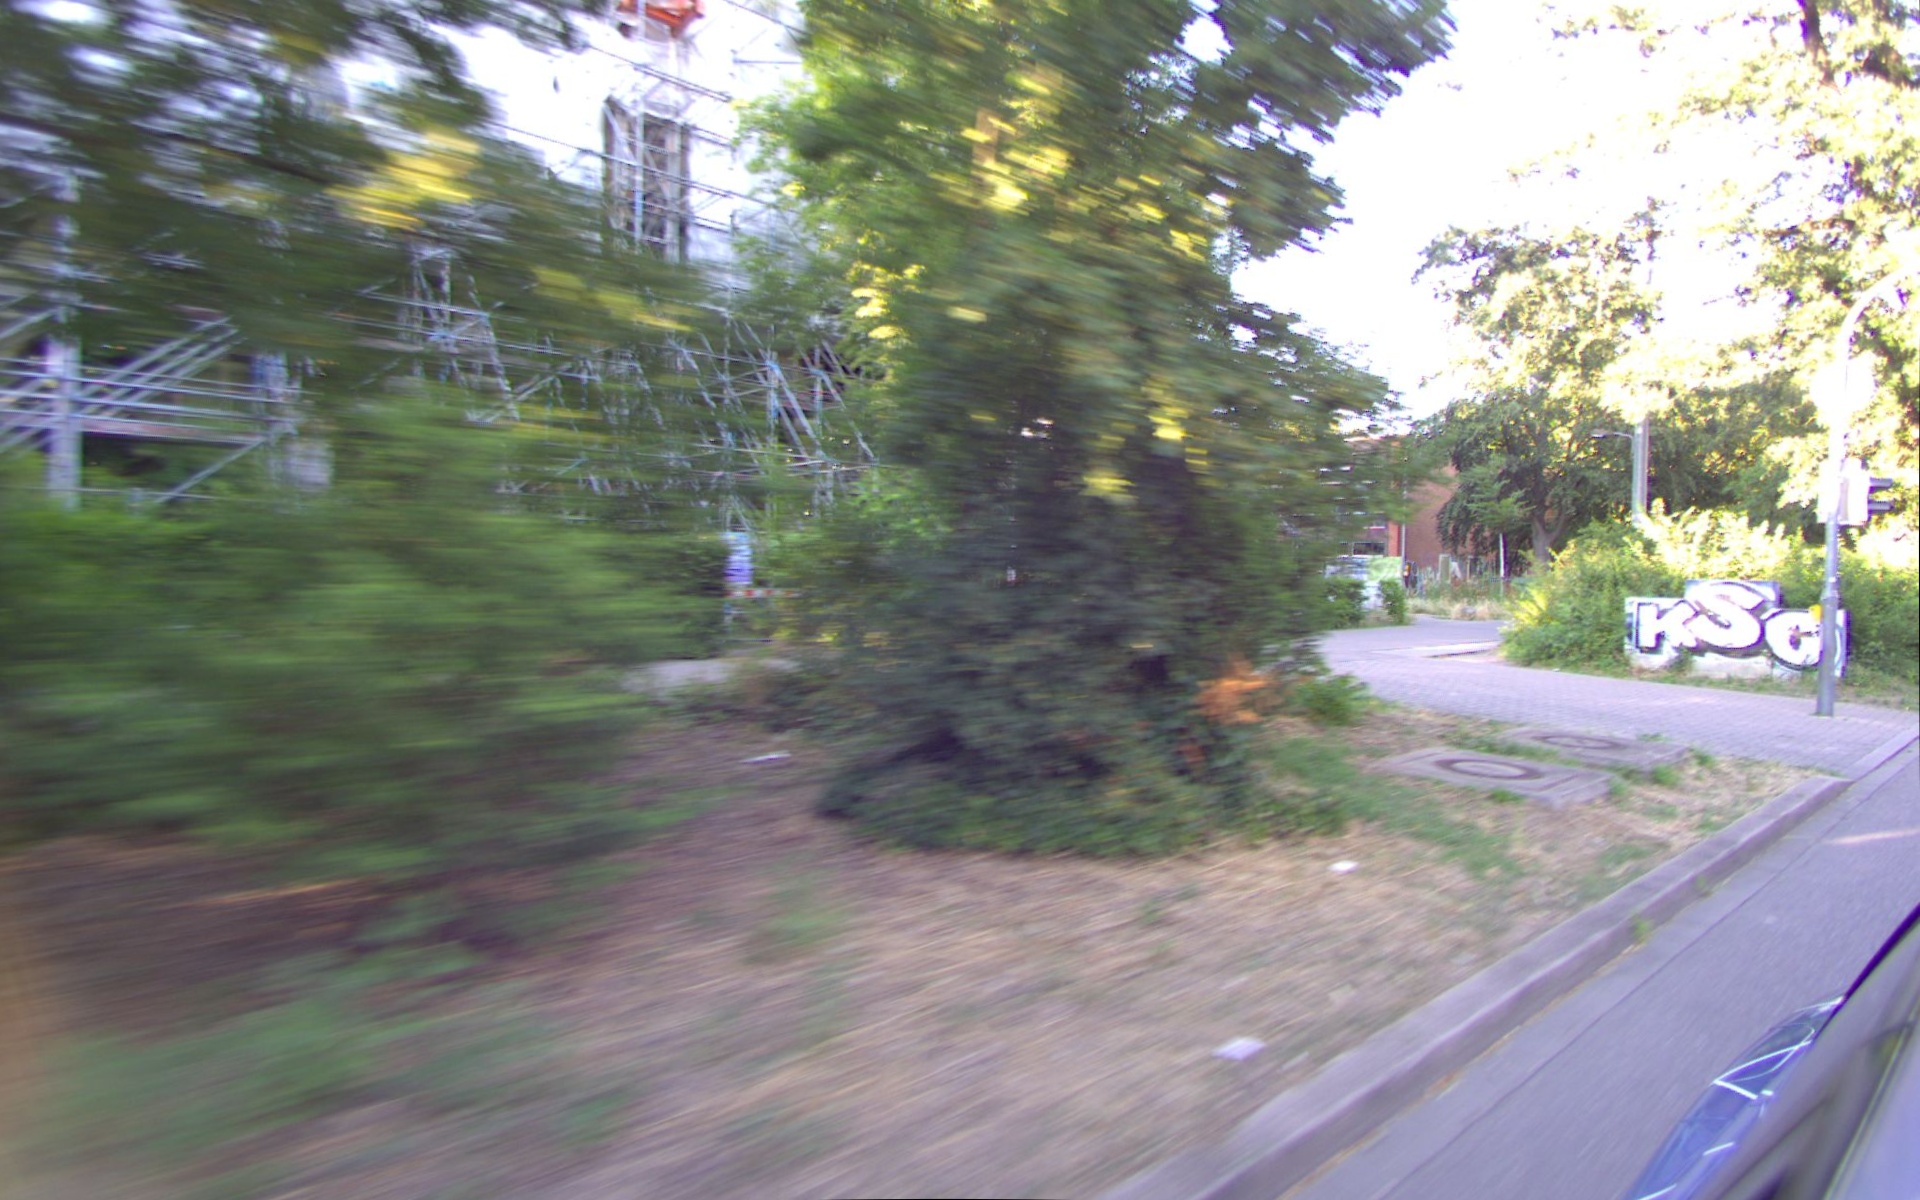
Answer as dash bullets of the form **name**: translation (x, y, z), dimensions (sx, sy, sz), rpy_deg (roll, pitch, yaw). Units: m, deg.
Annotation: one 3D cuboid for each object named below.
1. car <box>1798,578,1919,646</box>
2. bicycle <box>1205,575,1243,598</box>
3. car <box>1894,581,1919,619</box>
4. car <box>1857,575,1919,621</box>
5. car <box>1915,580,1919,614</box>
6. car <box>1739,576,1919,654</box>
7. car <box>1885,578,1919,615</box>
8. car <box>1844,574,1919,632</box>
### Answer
- **car**: translation (24.982, 0.328, 26.736), dimensions (1.692, 1.688, 4.131), rpy_deg (0, 2, -40)
- **bicycle**: translation (13.689, -0.682, 52.370), dimensions (2.345, 1.152, 0.648), rpy_deg (0, 2, -40)
- **car**: translation (40.292, 0.117, 40.451), dimensions (1.800, 1.492, 4.129), rpy_deg (-1, 5, -42)
- **car**: translation (34.633, 0.029, 35.612), dimensions (1.711, 1.493, 4.347), rpy_deg (1, 4, -41)
- **car**: translation (44.426, 0.015, 44.104), dimensions (1.725, 1.492, 3.818), rpy_deg (-1, 6, -40)
- **car**: translation (21.316, 0.311, 23.978), dimensions (1.832, 1.731, 4.183), rpy_deg (0, 1, -36)
- **car**: translation (41.905, -0.063, 42.795), dimensions (1.799, 1.492, 3.818), rpy_deg (-1, 6, -40)
- **car**: translation (28.732, 0.160, 29.843), dimensions (1.668, 1.613, 3.752), rpy_deg (1, 4, -42)
